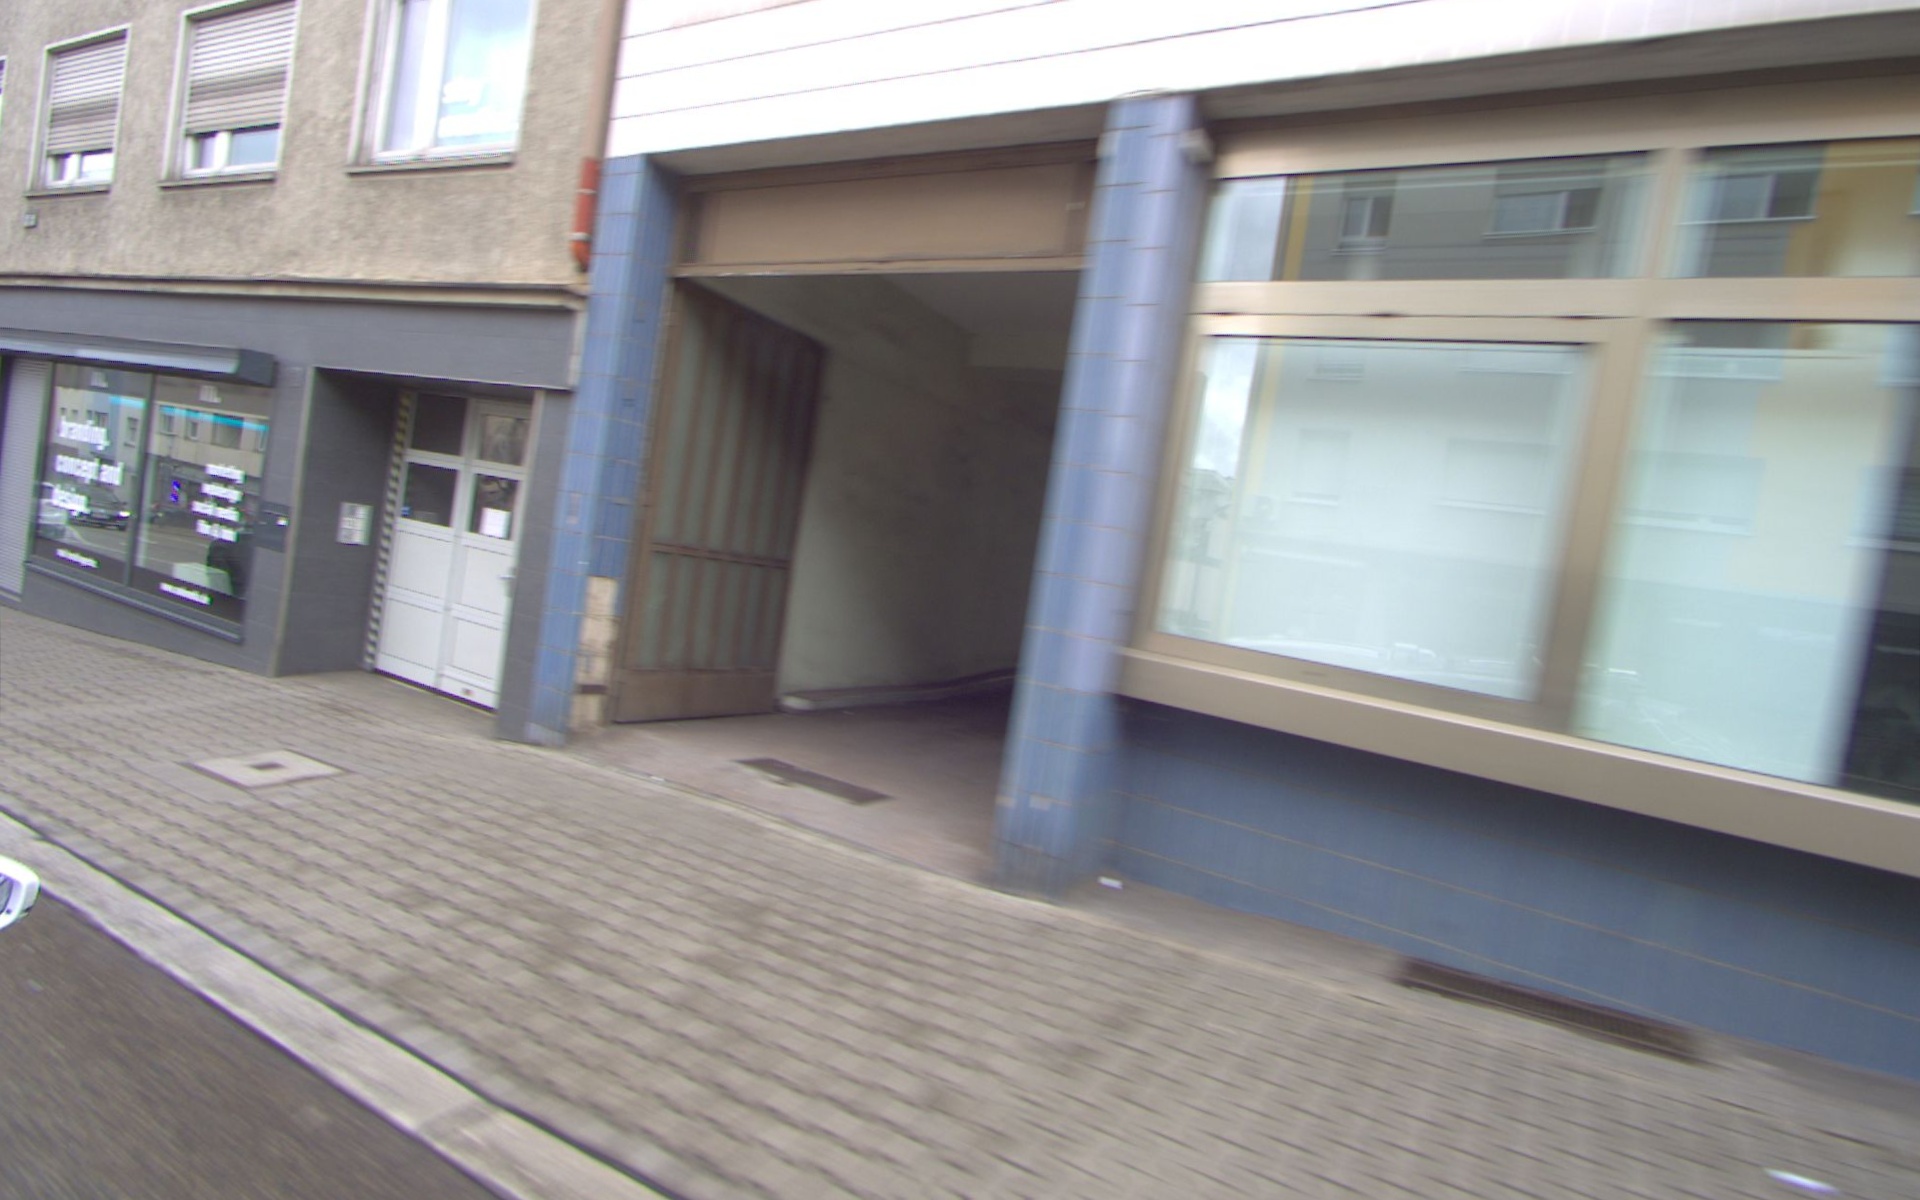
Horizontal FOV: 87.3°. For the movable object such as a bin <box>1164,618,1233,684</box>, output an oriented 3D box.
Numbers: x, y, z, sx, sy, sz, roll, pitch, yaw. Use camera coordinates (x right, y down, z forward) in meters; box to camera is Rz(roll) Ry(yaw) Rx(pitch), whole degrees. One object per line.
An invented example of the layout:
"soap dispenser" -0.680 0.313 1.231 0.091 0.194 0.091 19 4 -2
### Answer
"movable object such as a bin" 3.900 0.832 16.436 0.838 0.904 0.554 9 3 -40
